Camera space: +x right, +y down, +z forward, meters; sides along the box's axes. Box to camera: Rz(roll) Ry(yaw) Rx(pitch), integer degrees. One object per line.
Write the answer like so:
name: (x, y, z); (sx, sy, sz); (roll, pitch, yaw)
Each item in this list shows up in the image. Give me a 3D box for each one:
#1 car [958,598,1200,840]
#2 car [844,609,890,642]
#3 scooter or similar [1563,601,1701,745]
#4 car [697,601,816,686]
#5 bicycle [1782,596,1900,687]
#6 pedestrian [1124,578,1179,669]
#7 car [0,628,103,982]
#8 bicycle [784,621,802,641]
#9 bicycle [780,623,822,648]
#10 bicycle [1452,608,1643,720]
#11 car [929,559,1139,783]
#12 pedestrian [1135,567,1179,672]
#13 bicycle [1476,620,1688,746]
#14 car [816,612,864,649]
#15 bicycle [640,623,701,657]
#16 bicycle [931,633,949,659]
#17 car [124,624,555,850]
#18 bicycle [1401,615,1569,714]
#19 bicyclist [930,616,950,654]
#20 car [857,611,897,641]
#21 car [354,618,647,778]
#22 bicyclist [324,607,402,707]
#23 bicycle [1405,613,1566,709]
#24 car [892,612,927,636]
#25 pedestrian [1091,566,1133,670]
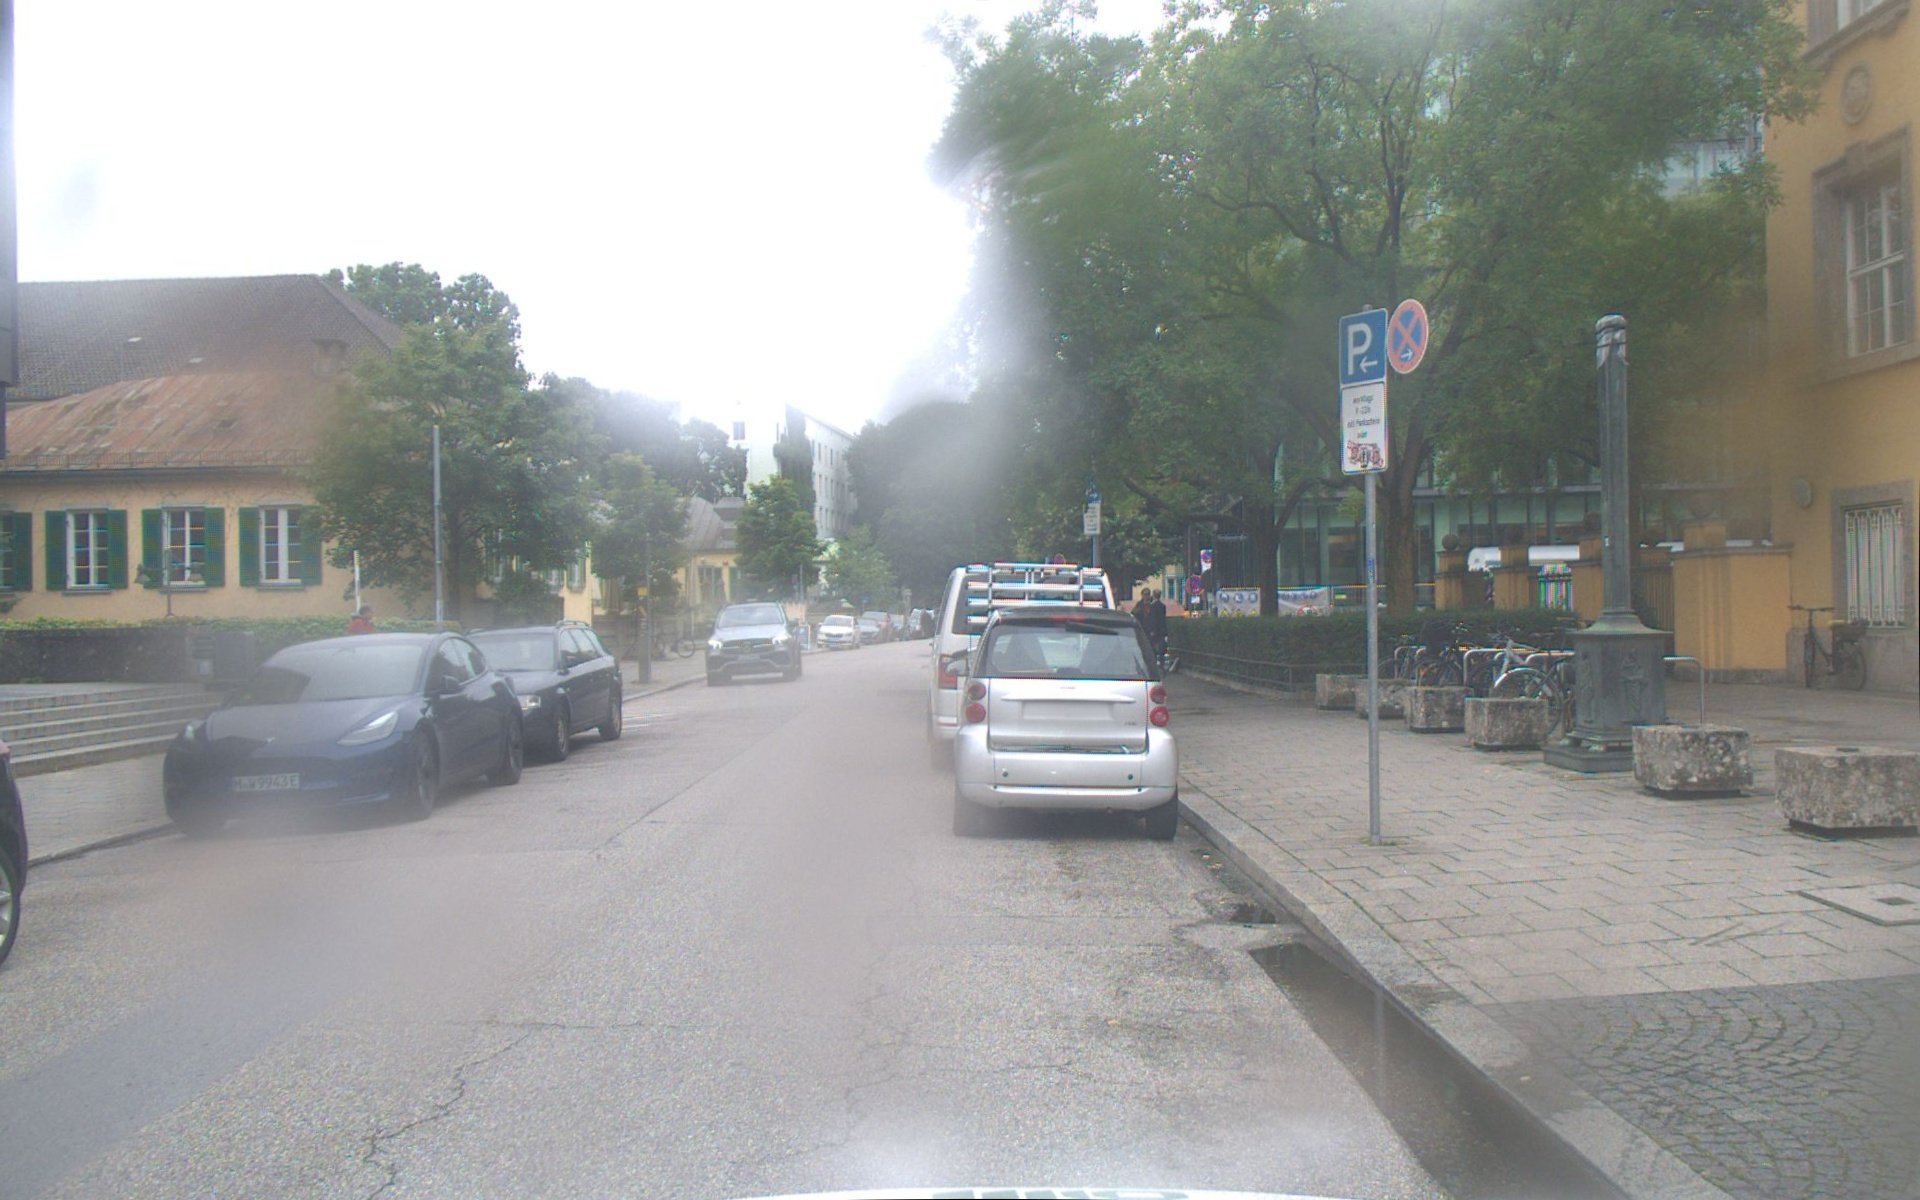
car: (0.785, 0.793, 12.403); (1.573, 1.573, 2.933); (1, 0, 0)
car: (-4.889, 1.318, 87.769); (1.952, 1.677, 4.656); (-1, 0, 2)
scooter or similar: (6.100, 0.654, 15.033); (0.995, 1.243, 0.534); (-3, -1, 45)
car: (-4.515, 0.934, 37.368); (1.983, 1.719, 4.677); (-2, 0, 1)
bicycle: (12.055, 0.539, 22.696); (0.531, 1.174, 1.901); (-2, 0, -2)
pedestrian: (4.212, 0.506, 36.286); (0.729, 1.941, 1.052); (-2, -1, 35)
car: (-4.962, 0.914, 5.687); (1.704, 1.486, 4.237); (-4, 0, 1)
bicycle: (-8.777, 1.648, 86.863); (0.608, 1.022, 1.619); (-1, -2, 5)
bicycle: (-6.789, 1.516, 70.648); (0.610, 1.022, 2.134); (1, 0, 32)
bicycle: (6.483, 0.702, 18.288); (1.892, 1.133, 0.471); (-2, -1, 1)
car: (0.619, 0.656, 17.503); (1.808, 1.967, 5.271); (2, 0, -2)
pedestrian: (4.167, 0.410, 35.075); (0.727, 2.172, 1.055); (-2, -1, -1)
bicycle: (6.127, 0.811, 16.324); (1.893, 1.133, 0.471); (-2, 0, -4)
car: (-5.437, 1.360, 75.174); (1.697, 1.609, 3.788); (2, 0, 3)
bicycle: (-9.747, 1.349, 55.732); (1.890, 1.118, 0.615); (1, -1, 2)
bicycle: (-0.743, 1.731, 62.407); (0.613, 0.972, 1.860); (1, -1, 1)
car: (-4.920, 0.990, 13.985); (1.884, 1.464, 4.915); (-3, -1, -2)
bicycle: (6.523, 0.792, 20.591); (1.892, 1.133, 0.471); (-2, -1, 1)
bicyclist: (-0.739, 1.329, 62.432); (0.690, 1.418, 0.868); (1, -1, 1)
car: (-4.642, 1.488, 92.851); (1.952, 1.631, 4.000); (-1, -1, 1)
car: (-5.129, 1.017, 19.244); (1.953, 1.517, 4.883); (-3, 0, 0)
bicyclist: (-9.353, 0.892, 25.909); (1.078, 1.524, 0.668); (0, -2, -26)
bicycle: (6.779, 0.783, 21.385); (1.892, 1.133, 0.471); (-2, 0, 1)
car: (-3.369, 1.586, 110.712); (1.952, 1.512, 4.002); (-1, 0, 4)
pedestrian: (3.242, 0.381, 35.336); (0.727, 2.172, 1.055); (-2, -1, -1)
